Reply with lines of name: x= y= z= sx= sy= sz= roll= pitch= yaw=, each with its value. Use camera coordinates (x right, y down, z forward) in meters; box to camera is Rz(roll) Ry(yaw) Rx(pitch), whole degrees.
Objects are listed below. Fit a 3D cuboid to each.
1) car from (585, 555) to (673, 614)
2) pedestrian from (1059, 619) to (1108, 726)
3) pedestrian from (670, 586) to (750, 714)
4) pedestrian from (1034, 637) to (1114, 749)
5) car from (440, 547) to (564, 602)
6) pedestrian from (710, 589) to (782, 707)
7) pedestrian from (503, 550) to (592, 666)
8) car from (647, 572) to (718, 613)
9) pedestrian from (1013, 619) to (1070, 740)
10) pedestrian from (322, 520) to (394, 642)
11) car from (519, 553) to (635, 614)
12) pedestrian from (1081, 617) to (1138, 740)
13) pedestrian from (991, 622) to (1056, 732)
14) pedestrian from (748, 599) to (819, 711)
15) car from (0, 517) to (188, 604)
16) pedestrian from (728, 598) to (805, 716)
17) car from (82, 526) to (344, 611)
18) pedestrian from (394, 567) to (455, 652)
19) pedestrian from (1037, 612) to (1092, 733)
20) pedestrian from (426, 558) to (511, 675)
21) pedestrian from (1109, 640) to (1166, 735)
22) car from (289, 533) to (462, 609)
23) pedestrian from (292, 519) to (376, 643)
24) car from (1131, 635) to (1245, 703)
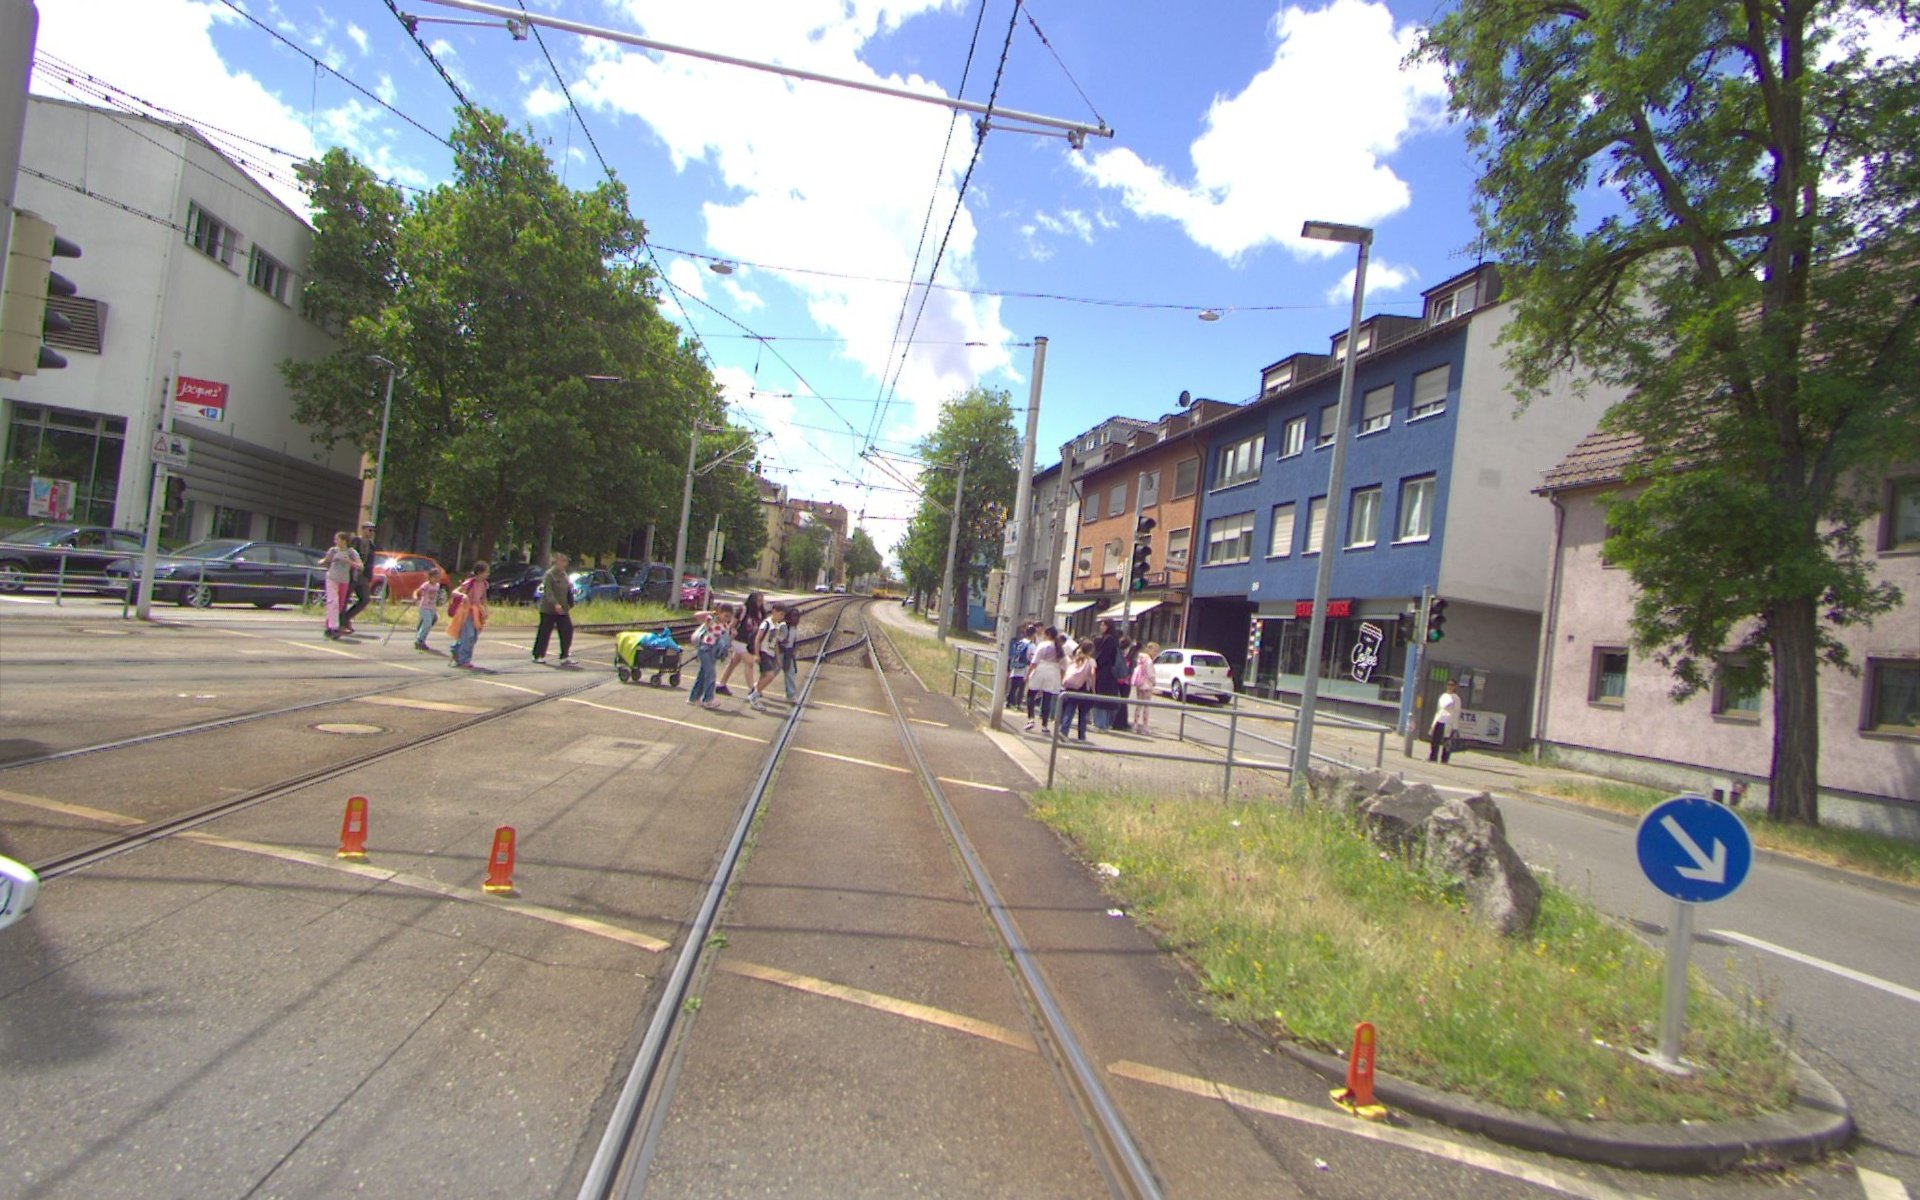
car: x=-12.587 y=-0.533 z=38.484 sx=1.817 sy=1.904 sz=4.149 roll=6 pitch=-1 yaw=0
pedestrian: x=2.137 y=1.242 z=17.425 sx=0.576 sy=1.772 sz=0.675 roll=6 pitch=0 yaw=-2
pedestrian: x=-3.085 y=0.609 z=12.410 sx=0.537 sy=1.488 sz=0.770 roll=5 pitch=0 yaw=-41
pedestrian: x=1.524 y=1.237 z=13.397 sx=0.579 sy=1.392 sz=0.777 roll=7 pitch=0 yaw=40
car: x=-15.657 y=-0.842 z=34.660 sx=1.866 sy=1.481 sz=4.003 roll=6 pitch=-1 yaw=9
pedestrian: x=-2.971 y=0.668 z=13.947 sx=0.583 sy=1.546 sz=0.667 roll=5 pitch=0 yaw=-41
pedestrian: x=-6.370 y=0.124 z=15.532 sx=0.879 sy=1.672 sz=0.822 roll=6 pitch=0 yaw=41
car: x=-12.545 y=-0.297 z=45.663 sx=1.978 sy=1.573 sz=4.000 roll=6 pitch=-1 yaw=0
pedestrian: x=1.138 y=1.087 z=13.957 sx=0.576 sy=1.585 sz=0.675 roll=6 pitch=0 yaw=9
pedestrian: x=-9.832 y=-0.308 z=16.414 sx=0.818 sy=1.864 sz=0.959 roll=6 pitch=0 yaw=-34
car: x=-12.491 y=-0.473 z=33.071 sx=1.891 sy=1.659 sz=4.002 roll=6 pitch=-1 yaw=5
pedestrian: x=2.254 y=1.170 z=15.212 sx=0.576 sy=1.772 sz=0.675 roll=6 pitch=0 yaw=-2
pedestrian: x=1.077 y=1.298 z=17.063 sx=0.583 sy=1.772 sz=0.744 roll=5 pitch=1 yaw=-41
pedestrian: x=-2.534 y=0.781 z=14.435 sx=0.583 sy=1.510 sz=0.667 roll=7 pitch=-1 yaw=-41
car: x=-18.451 y=-0.832 z=20.213 sx=2.013 sy=1.483 sz=4.327 roll=5 pitch=-1 yaw=12
pedestrian: x=-2.488 y=0.731 z=12.916 sx=0.583 sy=1.417 sz=0.667 roll=6 pitch=0 yaw=-41
car: x=-14.978 y=-0.580 z=20.479 sx=1.706 sy=1.457 sz=4.092 roll=4 pitch=1 yaw=14
pedestrian: x=-8.058 y=0.140 z=15.126 sx=0.583 sy=1.182 sz=0.667 roll=6 pitch=0 yaw=-41
pedestrian: x=1.599 y=1.092 z=15.441 sx=0.576 sy=1.772 sz=0.675 roll=6 pitch=0 yaw=-2
pedestrian: x=-6.763 y=0.225 z=13.835 sx=0.736 sy=1.500 sz=0.844 roll=6 pitch=0 yaw=-41
pedestrian: x=2.797 y=1.369 z=15.909 sx=0.623 sy=1.392 sz=0.675 roll=6 pitch=0 yaw=-3
car: x=-16.469 y=-0.752 z=28.597 sx=1.962 sy=1.661 sz=4.004 roll=6 pitch=-2 yaw=11
pedestrian: x=-9.433 y=-0.281 z=15.166 sx=0.682 sy=1.772 sz=0.749 roll=6 pitch=0 yaw=36
car: x=6.722 y=2.018 z=30.119 sx=1.684 sy=1.550 sz=3.992 roll=8 pitch=-1 yaw=-11
